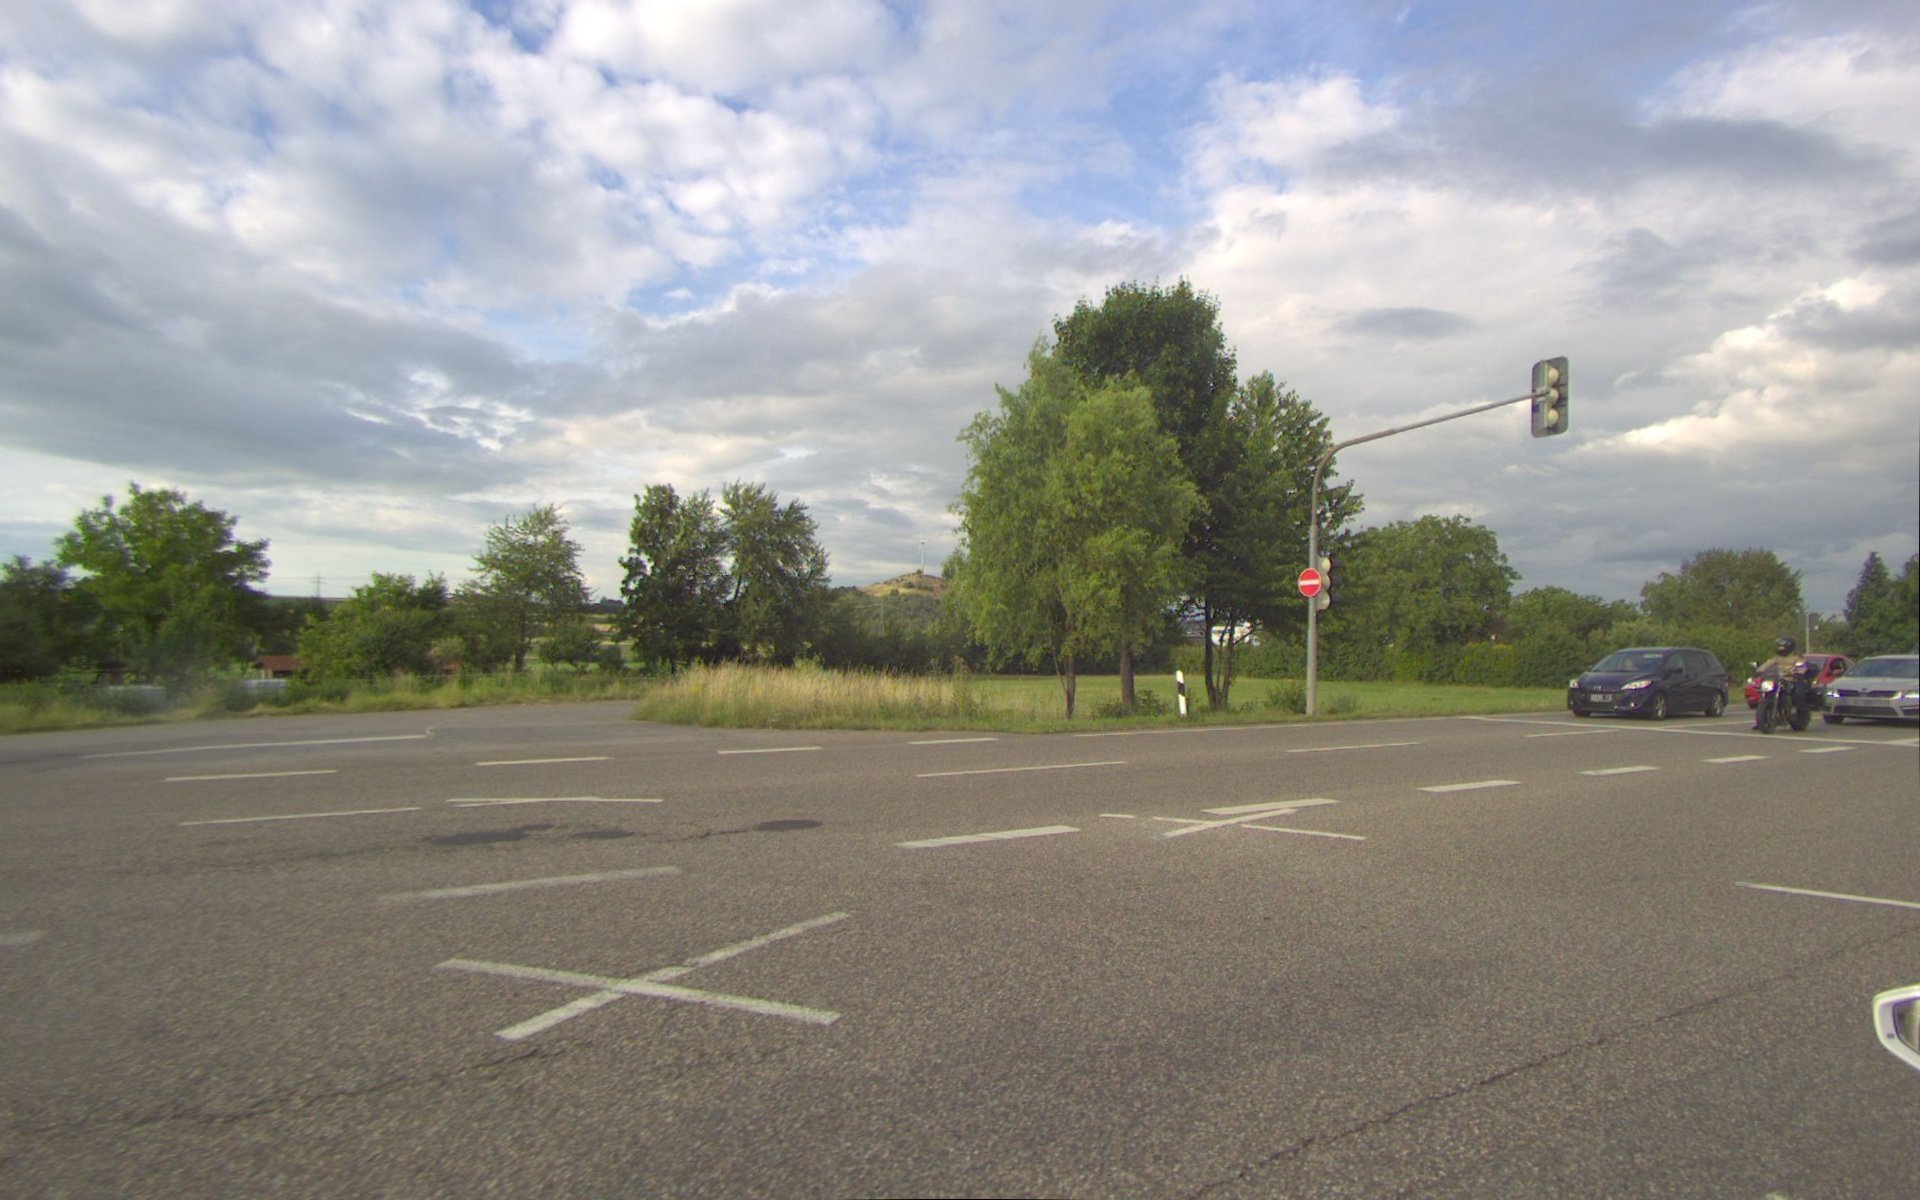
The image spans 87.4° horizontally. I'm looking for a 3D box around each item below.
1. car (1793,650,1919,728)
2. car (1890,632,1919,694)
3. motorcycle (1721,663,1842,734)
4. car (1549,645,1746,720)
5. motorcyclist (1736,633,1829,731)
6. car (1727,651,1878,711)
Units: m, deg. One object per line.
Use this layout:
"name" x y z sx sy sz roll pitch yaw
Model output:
"car" 19.865 1.802 21.221 5.093 1.447 1.898 2 -3 -31
"car" 33.896 2.177 34.141 4.889 2.040 1.985 3 -3 -30
"motorcycle" 15.117 1.779 18.466 2.449 1.219 0.912 2 -3 -30
"car" 15.885 1.845 23.156 4.882 1.556 1.898 2 -2 -31
"motorcyclist" 15.124 1.495 18.469 1.261 1.731 0.912 2 -3 -30
"car" 22.956 2.145 27.338 4.136 1.484 1.898 2 -2 -31
